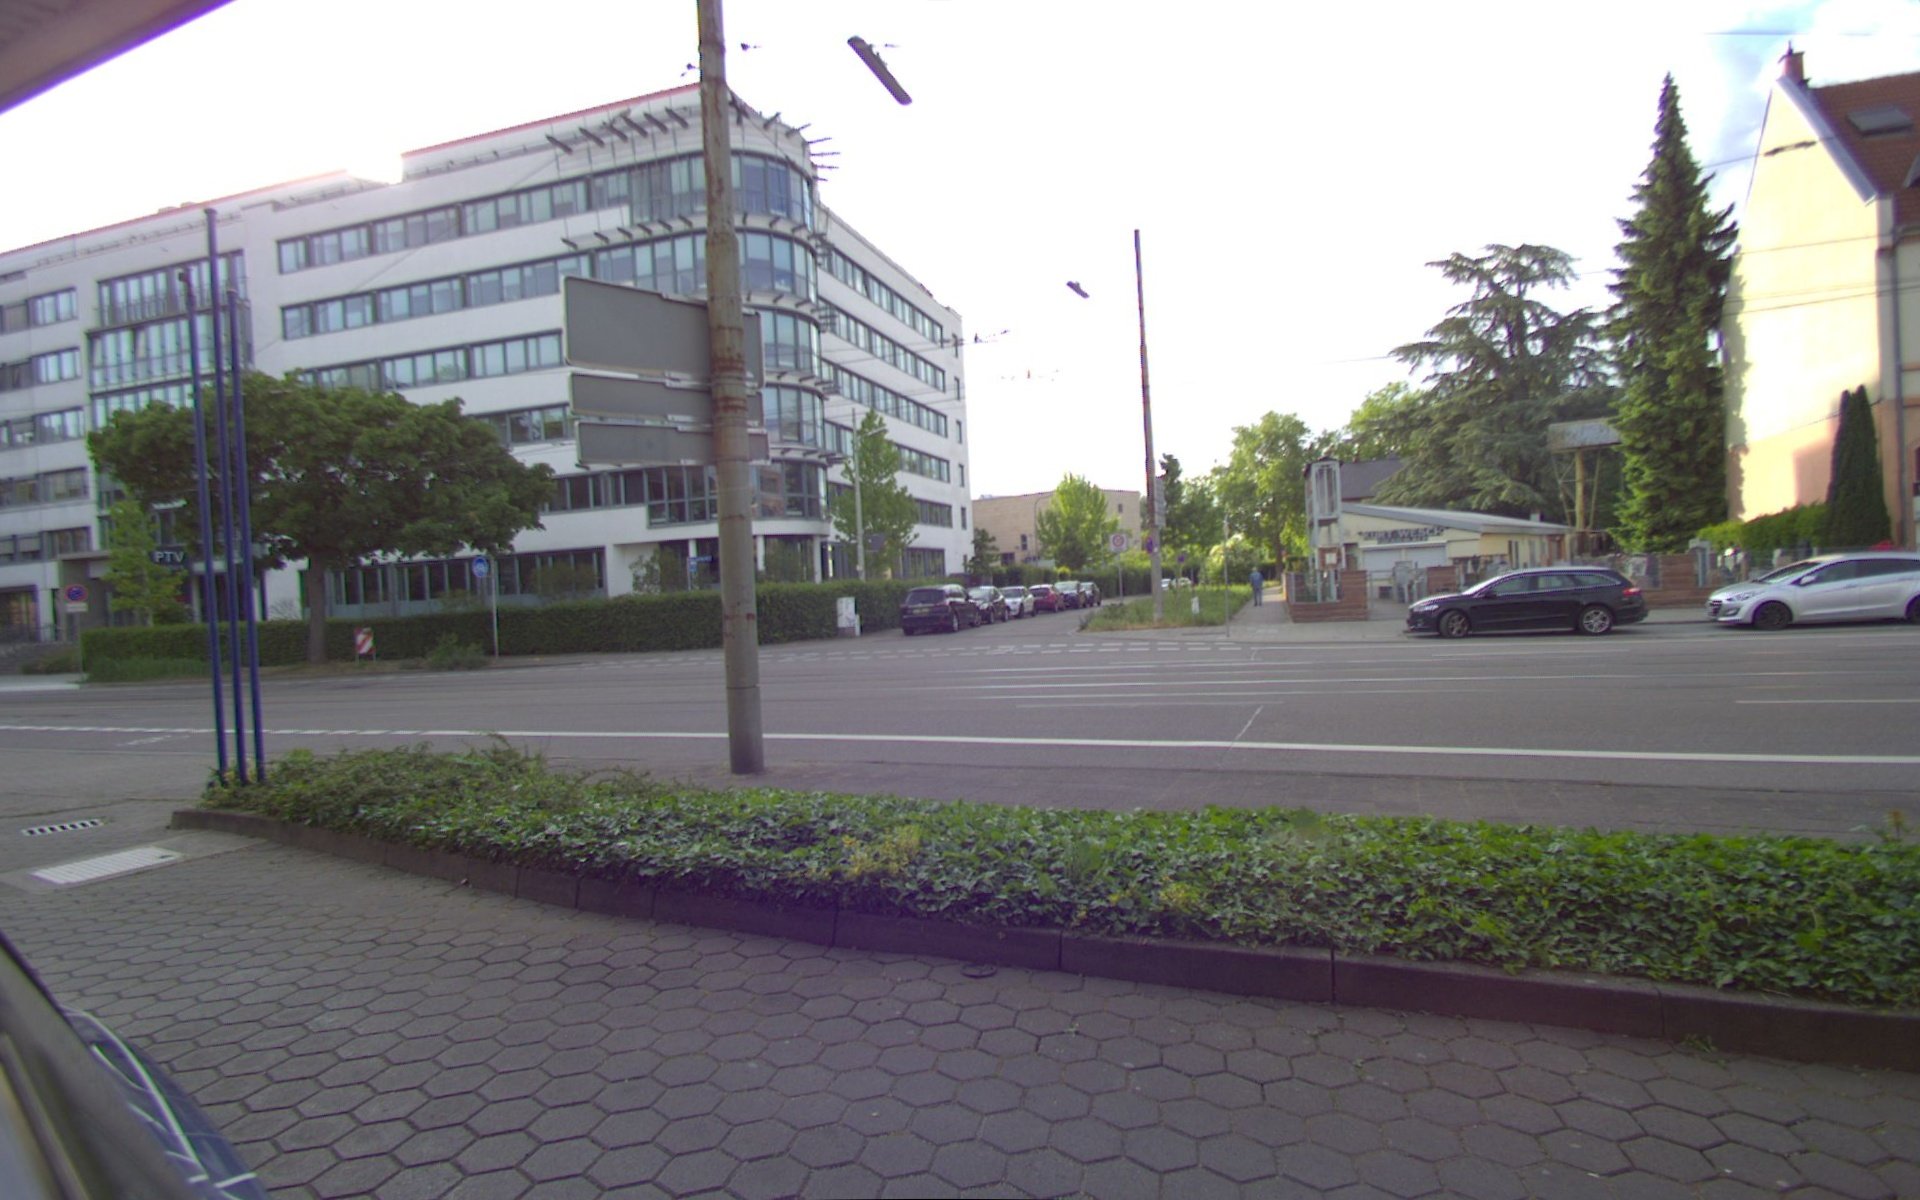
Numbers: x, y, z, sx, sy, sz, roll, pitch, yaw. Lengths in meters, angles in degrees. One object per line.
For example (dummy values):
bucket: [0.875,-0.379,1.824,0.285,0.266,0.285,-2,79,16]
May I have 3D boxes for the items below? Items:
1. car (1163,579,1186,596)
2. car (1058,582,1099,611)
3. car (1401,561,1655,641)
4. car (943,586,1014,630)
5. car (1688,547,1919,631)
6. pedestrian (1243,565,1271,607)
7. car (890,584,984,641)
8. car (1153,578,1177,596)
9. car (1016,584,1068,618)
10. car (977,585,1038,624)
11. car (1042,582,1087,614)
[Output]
car: [22.565,-1.298,106.318,1.774,1.653,4.060,-4,0,19]
car: [7.371,-0.233,62.679,1.773,1.653,4.064,-4,0,17]
car: [12.914,0.045,23.423,4.791,1.507,1.986,-3,0,22]
car: [0.796,0.289,40.902,1.773,1.565,4.083,-4,0,17]
car: [18.490,-0.255,21.505,4.459,1.486,1.986,-4,0,22]
pedestrian: [13.124,-0.618,44.740,1.081,1.843,1.002,-1,0,13]
car: [-0.724,0.382,35.544,1.962,1.625,4.411,-4,2,17]
car: [20.426,-1.269,100.621,1.774,1.653,4.060,-4,0,19]
car: [4.285,0.023,52.368,1.773,1.552,4.018,-4,0,17]
car: [2.204,0.176,45.763,1.773,1.565,4.083,-4,0,17]
car: [5.980,-0.136,57.669,1.773,1.653,4.064,-4,0,17]
